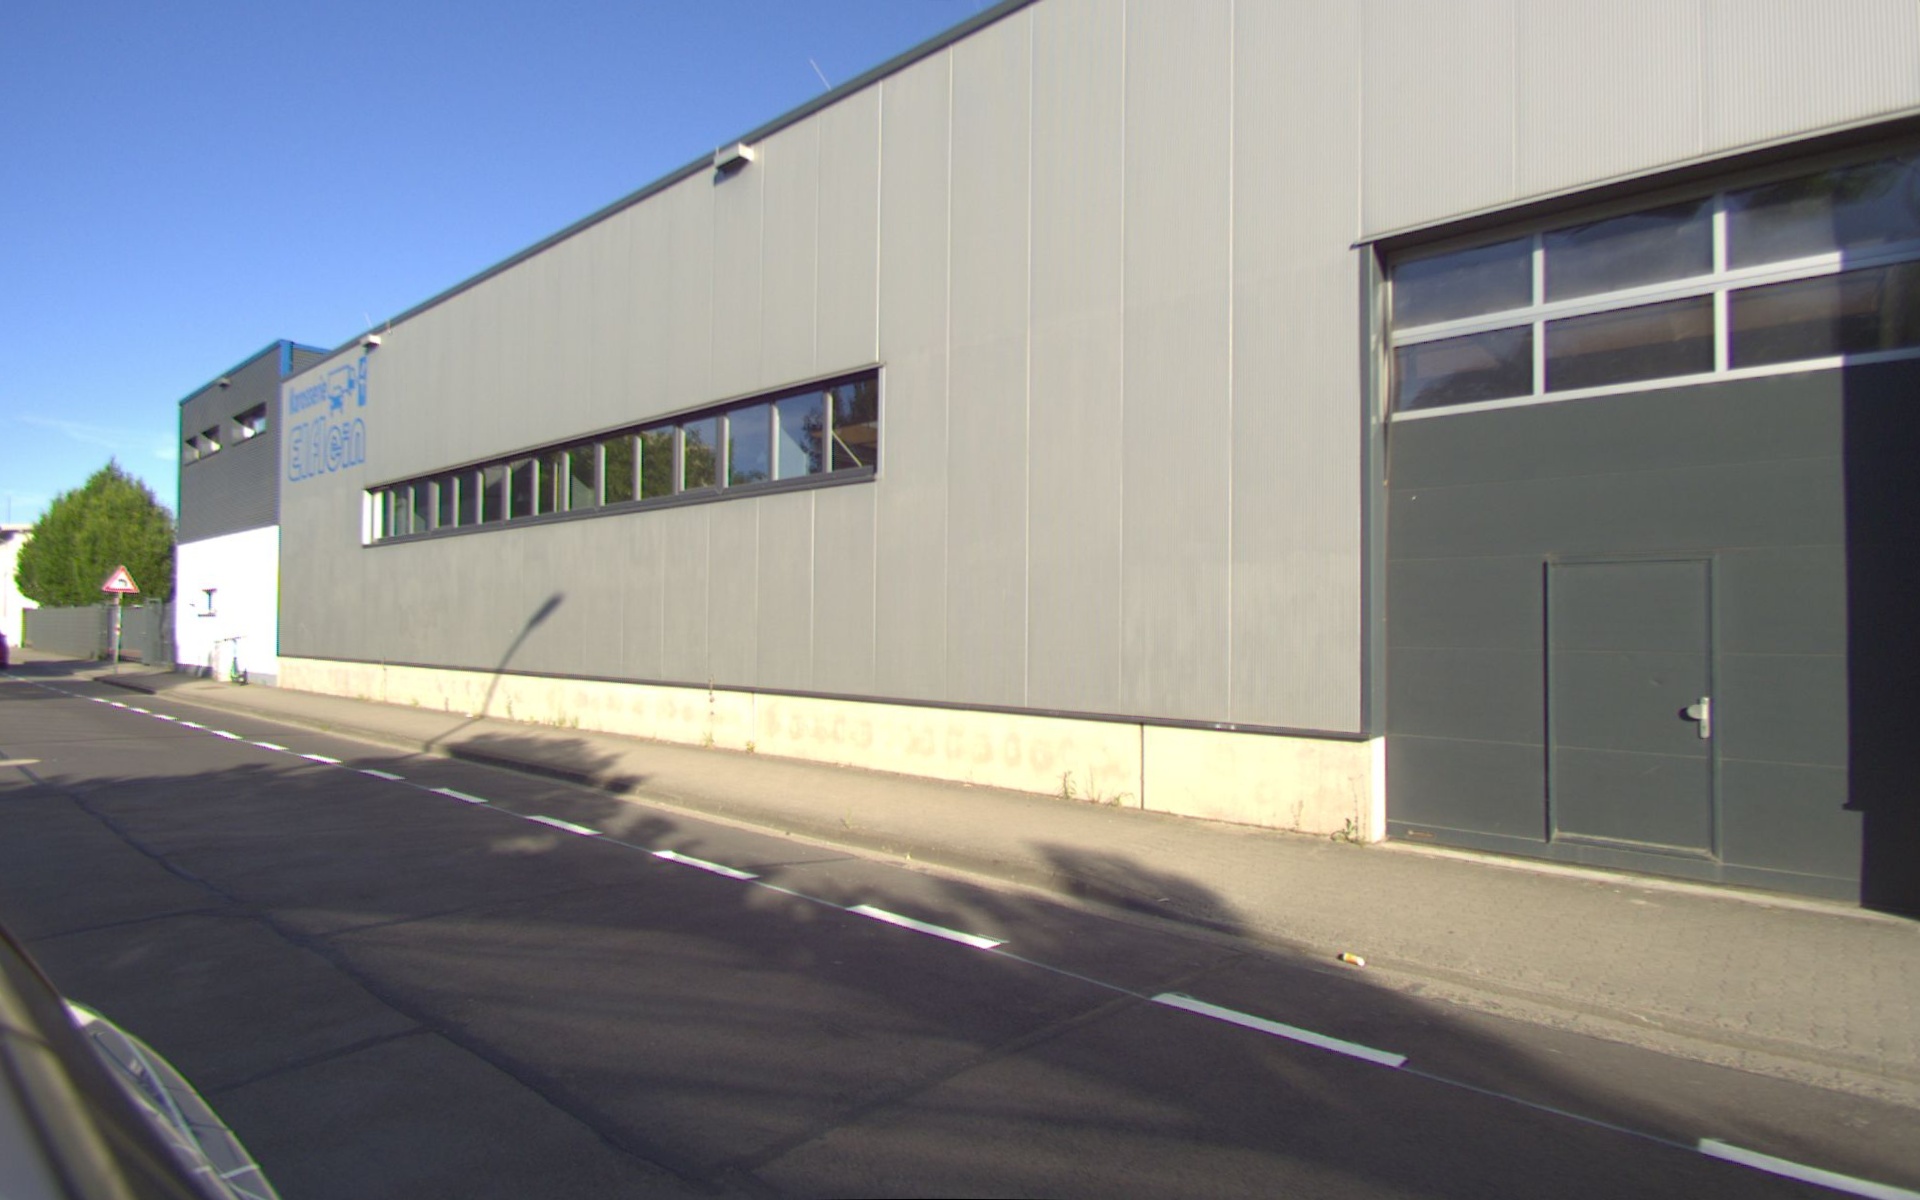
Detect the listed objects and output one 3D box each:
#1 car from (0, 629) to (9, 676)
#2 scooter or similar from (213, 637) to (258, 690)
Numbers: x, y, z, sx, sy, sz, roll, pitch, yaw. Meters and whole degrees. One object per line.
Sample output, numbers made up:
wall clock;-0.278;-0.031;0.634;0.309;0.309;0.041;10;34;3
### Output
car;-33.711;1.766;34.315;4.074;1.552;1.702;-2;-5;41
scooter or similar;-17.997;1.564;25.116;1.753;1.212;0.501;-1;2;42
